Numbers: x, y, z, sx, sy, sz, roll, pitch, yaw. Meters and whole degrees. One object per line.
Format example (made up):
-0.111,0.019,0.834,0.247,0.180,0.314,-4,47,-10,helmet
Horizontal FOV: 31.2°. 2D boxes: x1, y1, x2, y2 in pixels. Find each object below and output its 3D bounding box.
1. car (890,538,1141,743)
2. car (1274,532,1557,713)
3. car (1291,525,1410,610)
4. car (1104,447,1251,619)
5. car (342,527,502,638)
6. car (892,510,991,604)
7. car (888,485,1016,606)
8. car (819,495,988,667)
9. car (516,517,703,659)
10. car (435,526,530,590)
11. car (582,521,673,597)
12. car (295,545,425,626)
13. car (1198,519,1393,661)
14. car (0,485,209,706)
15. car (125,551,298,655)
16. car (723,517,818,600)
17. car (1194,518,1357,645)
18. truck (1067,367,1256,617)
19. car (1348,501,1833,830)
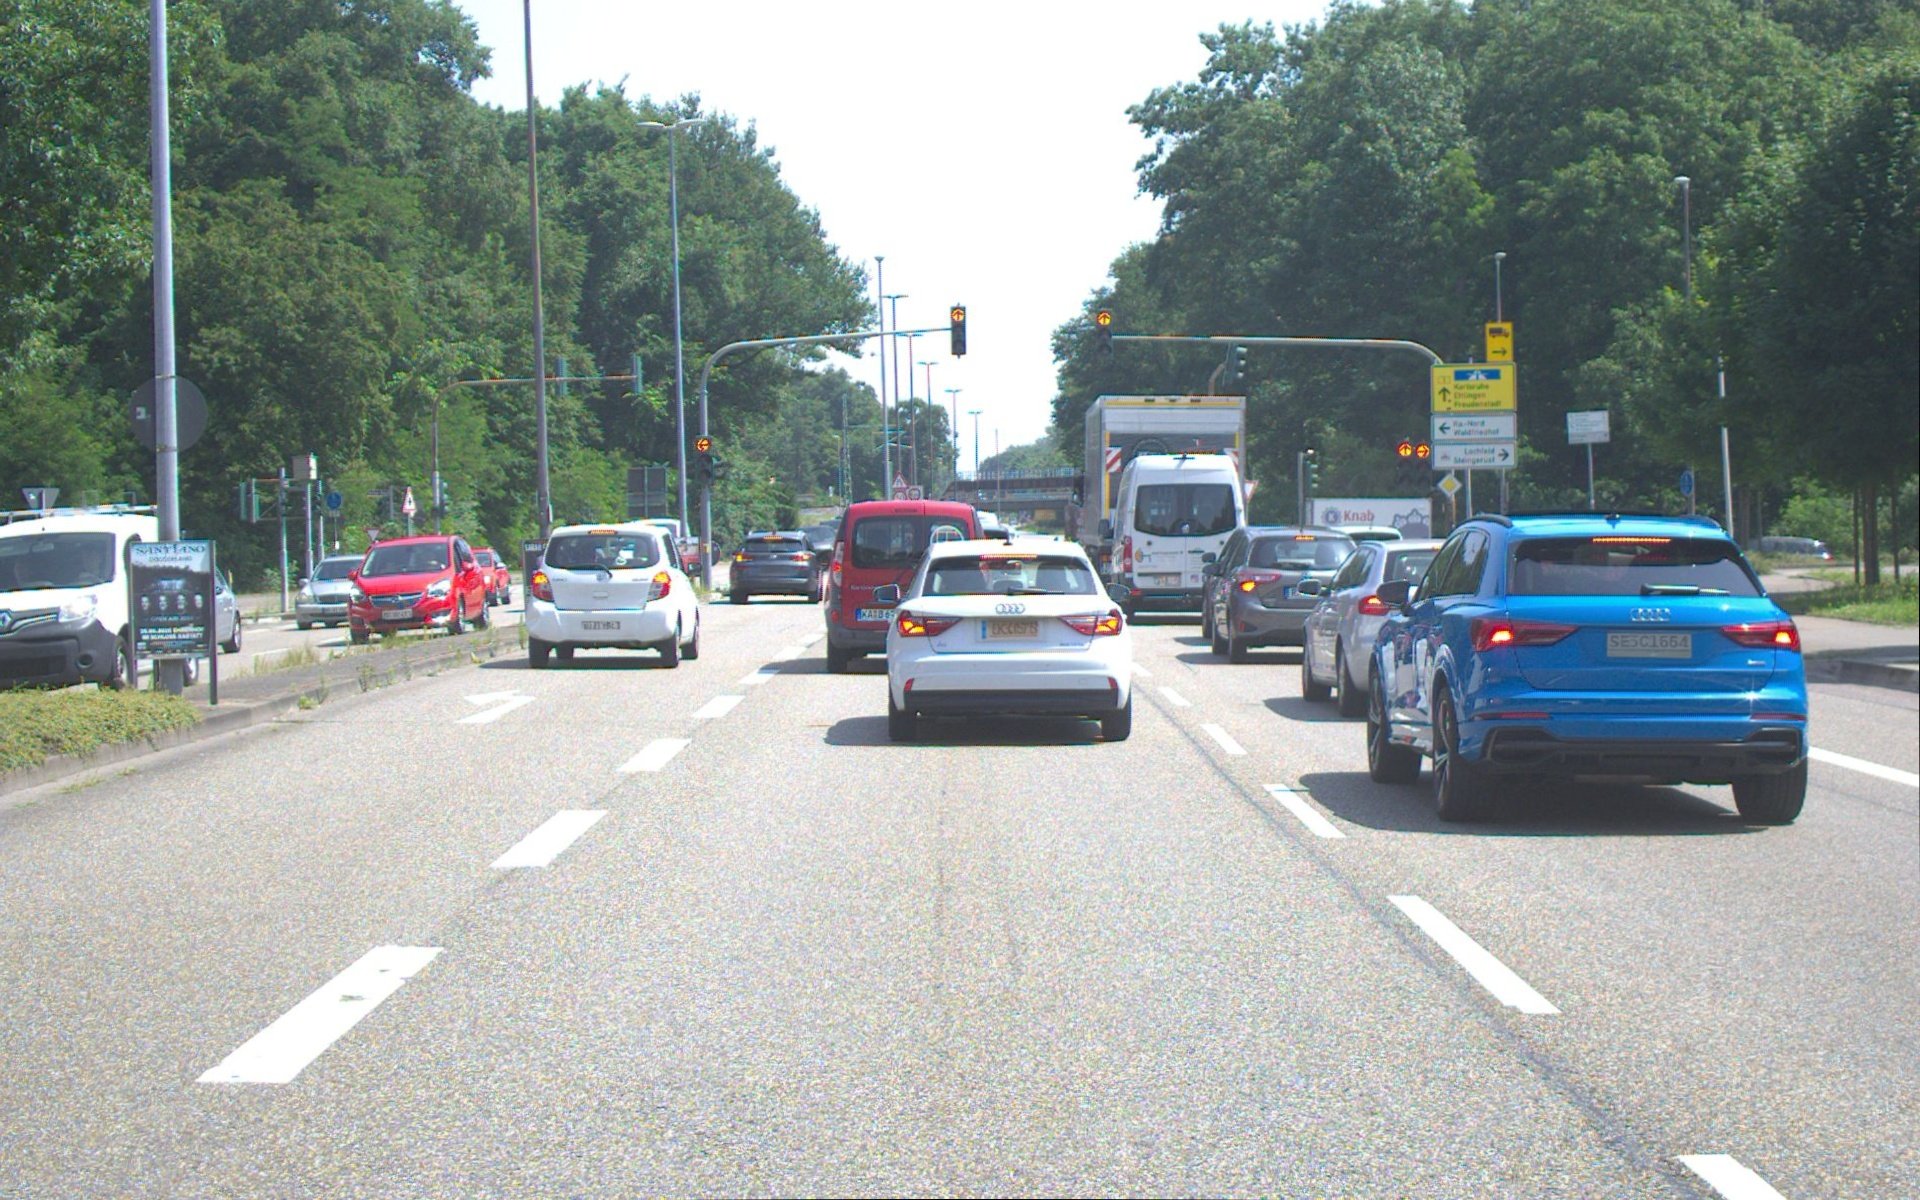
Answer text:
0.346,0.242,25.526,1.712,1.381,4.092,0,1,-1,car
3.679,0.133,28.414,1.712,1.357,4.092,1,1,-1,car
7.348,-0.639,64.995,1.712,1.541,4.092,0,1,-1,car
3.454,-1.082,55.384,2.031,2.635,4.845,0,1,0,car
-8.385,-0.308,53.894,1.749,1.564,4.153,-3,1,0,car
-0.349,-0.784,61.365,1.712,1.626,4.092,0,1,-1,car
-0.145,-0.773,48.326,1.712,1.626,4.092,0,1,-1,car
-0.610,-0.231,36.954,1.712,1.742,4.092,0,1,-1,car
-3.832,-0.171,38.154,1.712,1.487,4.092,0,1,-1,car
-11.854,-1.070,85.513,1.705,1.447,3.891,-4,1,1,car
-9.197,-1.162,95.387,1.993,1.939,4.909,-3,1,-1,car
-11.830,-0.316,68.004,1.777,1.399,4.360,-4,1,-1,car
3.789,-0.149,39.428,1.712,1.473,4.092,2,1,-1,car
-8.578,-0.061,32.597,1.852,1.899,4.426,-4,1,-1,car
-11.774,0.015,54.317,1.749,1.446,4.133,-3,1,0,car
-3.818,-0.867,69.902,1.774,1.635,4.037,0,1,-1,car
4.114,-0.275,45.328,1.712,1.587,4.092,0,1,-1,car
3.744,-2.033,66.617,3.088,4.418,11.580,0,1,1,truck
3.319,0.267,18.933,1.837,1.590,4.400,0,1,0,car
